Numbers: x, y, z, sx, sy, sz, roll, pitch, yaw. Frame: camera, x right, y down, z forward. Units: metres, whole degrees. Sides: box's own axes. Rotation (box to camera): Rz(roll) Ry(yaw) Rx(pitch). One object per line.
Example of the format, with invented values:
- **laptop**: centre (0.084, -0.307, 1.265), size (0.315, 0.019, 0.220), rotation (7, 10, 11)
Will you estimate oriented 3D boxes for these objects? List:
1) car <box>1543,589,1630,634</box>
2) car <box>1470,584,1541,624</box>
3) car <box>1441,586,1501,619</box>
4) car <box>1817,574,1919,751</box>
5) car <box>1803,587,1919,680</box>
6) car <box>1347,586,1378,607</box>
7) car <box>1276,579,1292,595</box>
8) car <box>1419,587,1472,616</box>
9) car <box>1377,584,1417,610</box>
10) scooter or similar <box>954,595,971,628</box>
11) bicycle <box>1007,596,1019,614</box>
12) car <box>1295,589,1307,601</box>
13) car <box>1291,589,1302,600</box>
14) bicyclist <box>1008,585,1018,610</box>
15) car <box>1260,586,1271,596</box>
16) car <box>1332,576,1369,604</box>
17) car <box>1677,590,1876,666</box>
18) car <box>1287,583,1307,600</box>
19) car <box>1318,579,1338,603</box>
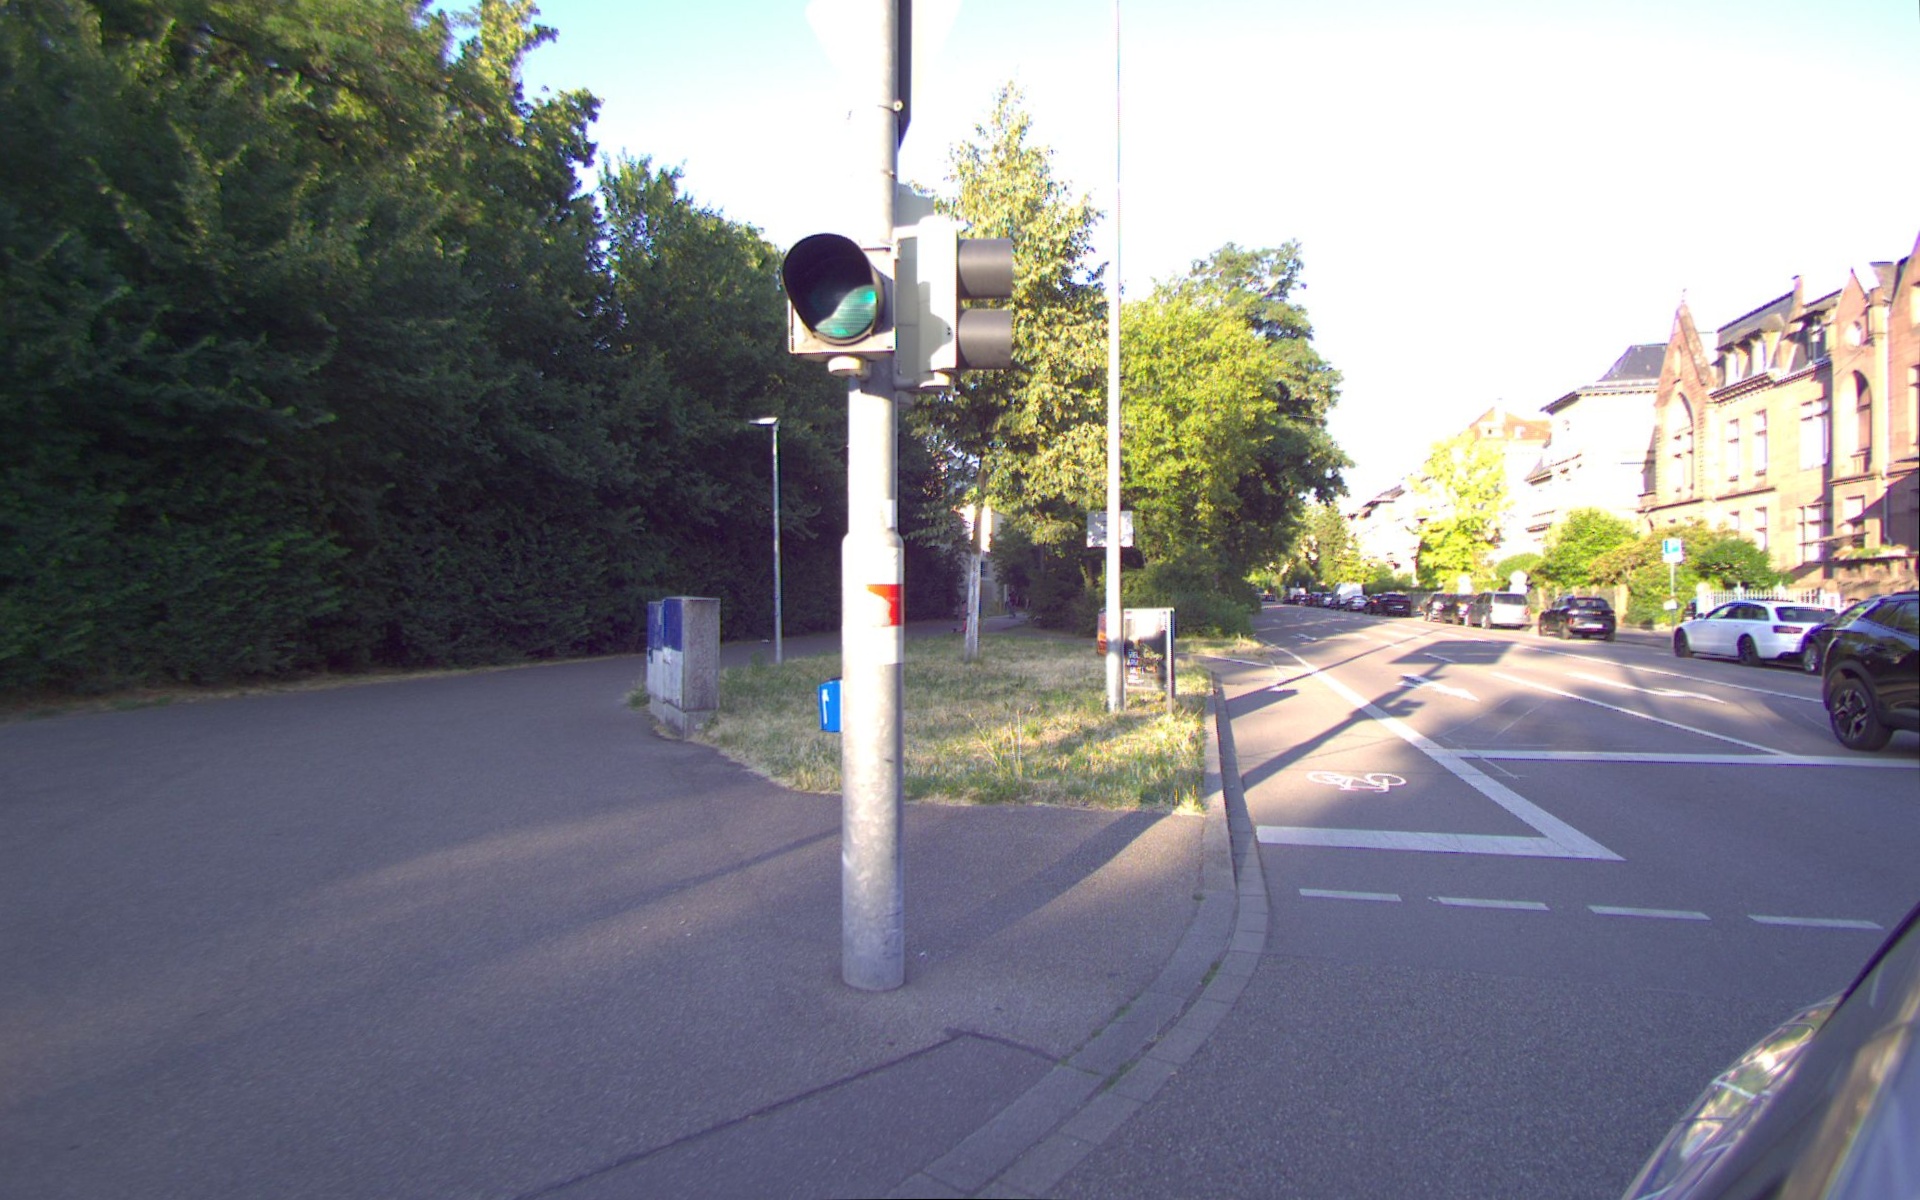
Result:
- **car**: centre (21.383, 0.353, 34.674), size (1.610, 1.463, 3.548), rotation (1, 1, 16)
- **car**: centre (23.479, 0.146, 43.692), size (1.691, 1.608, 3.739), rotation (1, 1, 12)
- **car**: centre (24.538, 0.096, 48.729), size (1.691, 1.468, 3.709), rotation (1, 1, 12)
- **car**: centre (9.126, 0.558, 8.214), size (1.658, 1.555, 3.984), rotation (0, 0, 13)
- **car**: centre (17.284, 0.574, 18.355), size (1.610, 1.553, 3.704), rotation (3, 1, 16)
- **car**: centre (33.250, -0.306, 83.764), size (1.690, 1.625, 3.840), rotation (1, 1, 11)
- **car**: centre (52.235, -2.111, 163.437), size (1.970, 2.488, 5.558), rotation (0, 0, 13)
- **car**: centre (25.470, 0.063, 53.194), size (1.691, 1.468, 3.709), rotation (1, 1, 12)
- **car**: centre (28.939, -0.222, 67.088), size (1.854, 1.625, 3.707), rotation (1, 2, 15)
- **scooter or similar**: centre (0.088, 0.397, 34.821), size (0.192, 1.100, 0.828), rotation (-2, -1, 29)
- **bicycle**: centre (2.965, 0.278, 56.639), size (0.494, 1.027, 1.523), rotation (0, 0, 10)
- **car**: centre (41.918, -0.650, 124.348), size (1.203, 1.456, 2.504), rotation (1, 1, 14)
- **car**: centre (44.676, -0.789, 134.393), size (1.203, 1.456, 2.504), rotation (1, 1, 14)
- **bicyclist**: centre (2.970, -0.143, 56.683), size (0.488, 1.435, 0.567), rotation (0, 0, 10)
- **car**: centre (63.336, -1.891, 209.979), size (1.971, 2.039, 3.982), rotation (0, 0, 14)
- **car**: centre (34.855, -0.883, 90.432), size (2.199, 2.399, 5.856), rotation (1, 1, 13)
- **car**: centre (18.155, 0.540, 22.787), size (1.585, 1.461, 4.417), rotation (2, 1, 12)
- **car**: centre (46.329, -1.210, 139.226), size (2.173, 2.242, 4.507), rotation (1, 1, 14)
- **car**: centre (37.250, -0.914, 102.424), size (1.549, 2.294, 3.783), rotation (0, 0, 14)
